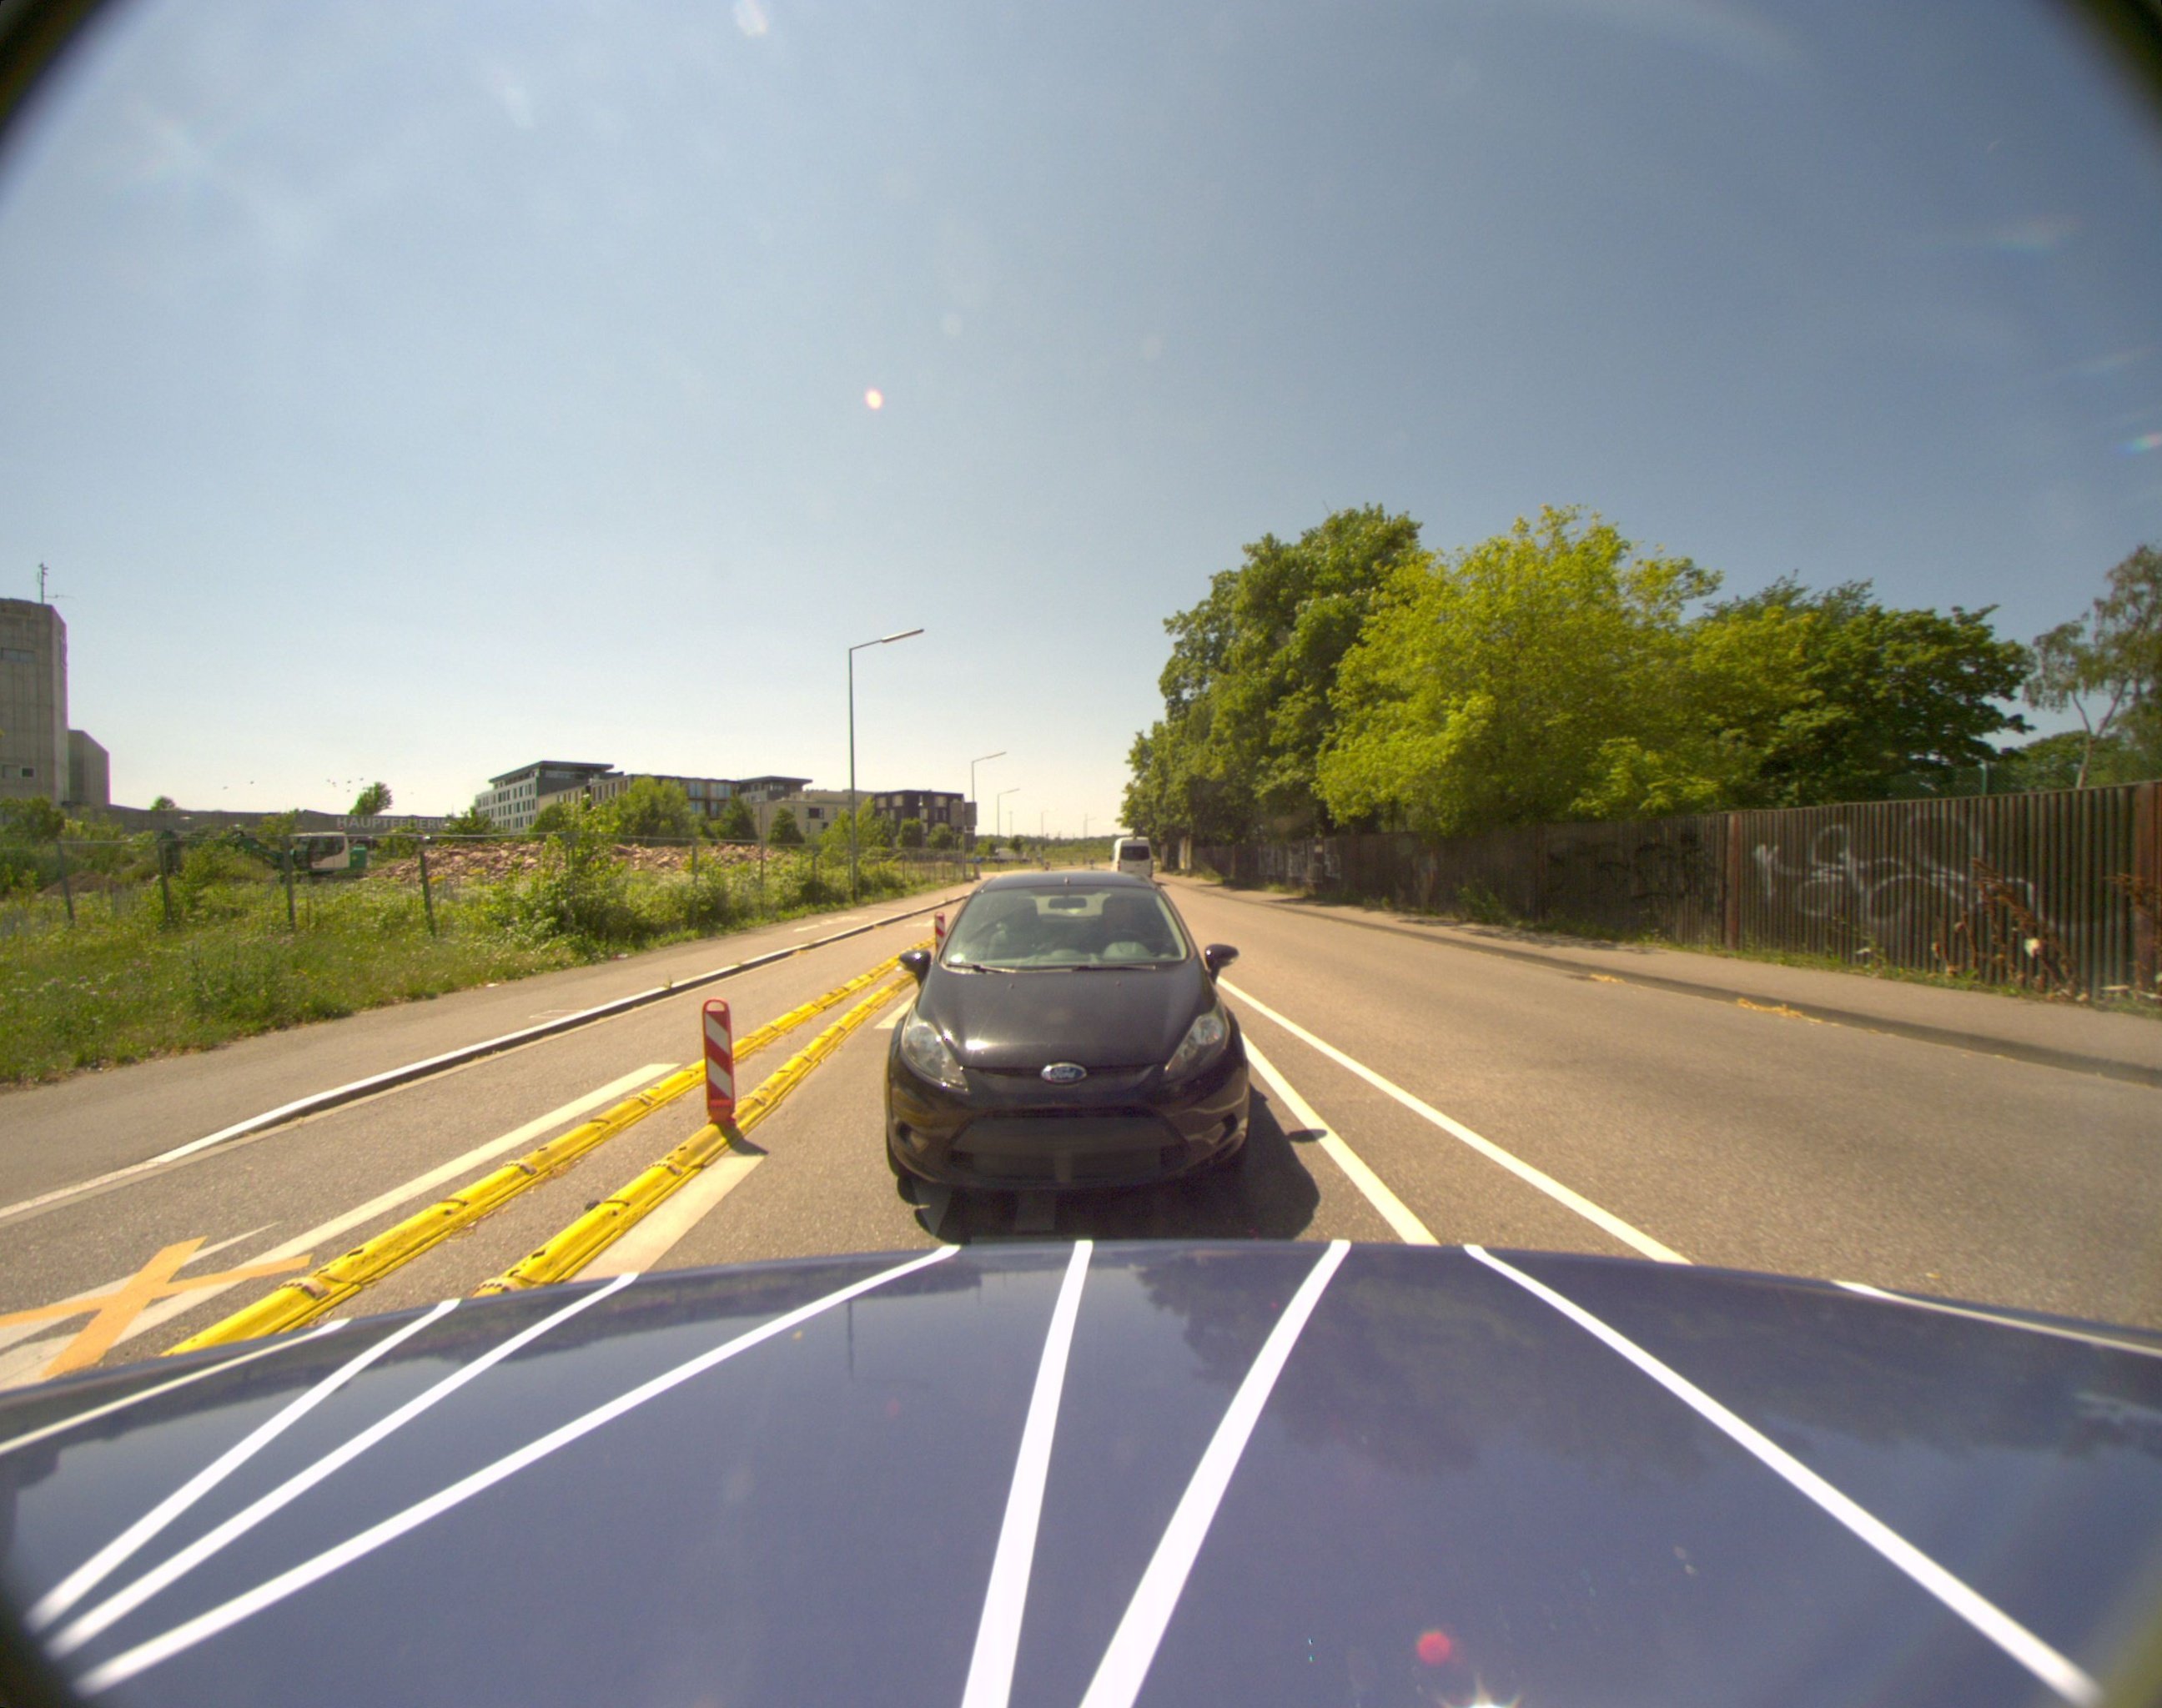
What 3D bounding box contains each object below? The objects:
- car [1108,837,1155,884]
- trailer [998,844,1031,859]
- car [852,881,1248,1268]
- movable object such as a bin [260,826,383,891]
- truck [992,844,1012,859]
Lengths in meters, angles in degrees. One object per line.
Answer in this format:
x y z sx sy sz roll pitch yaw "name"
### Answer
2.854 0.325 44.549 2.025 2.524 6.826 0 0 -2 "car"
-15.140 -0.526 174.461 8.194 3.329 1.994 0 0 -45 "trailer"
-0.108 0.988 5.147 1.602 1.422 4.000 -2 0 1 "car"
-37.637 0.211 37.797 2.204 3.045 3.690 -1 1 6 "movable object such as a bin"
-17.897 -0.529 171.721 4.008 3.316 1.994 -1 0 -45 "truck"
